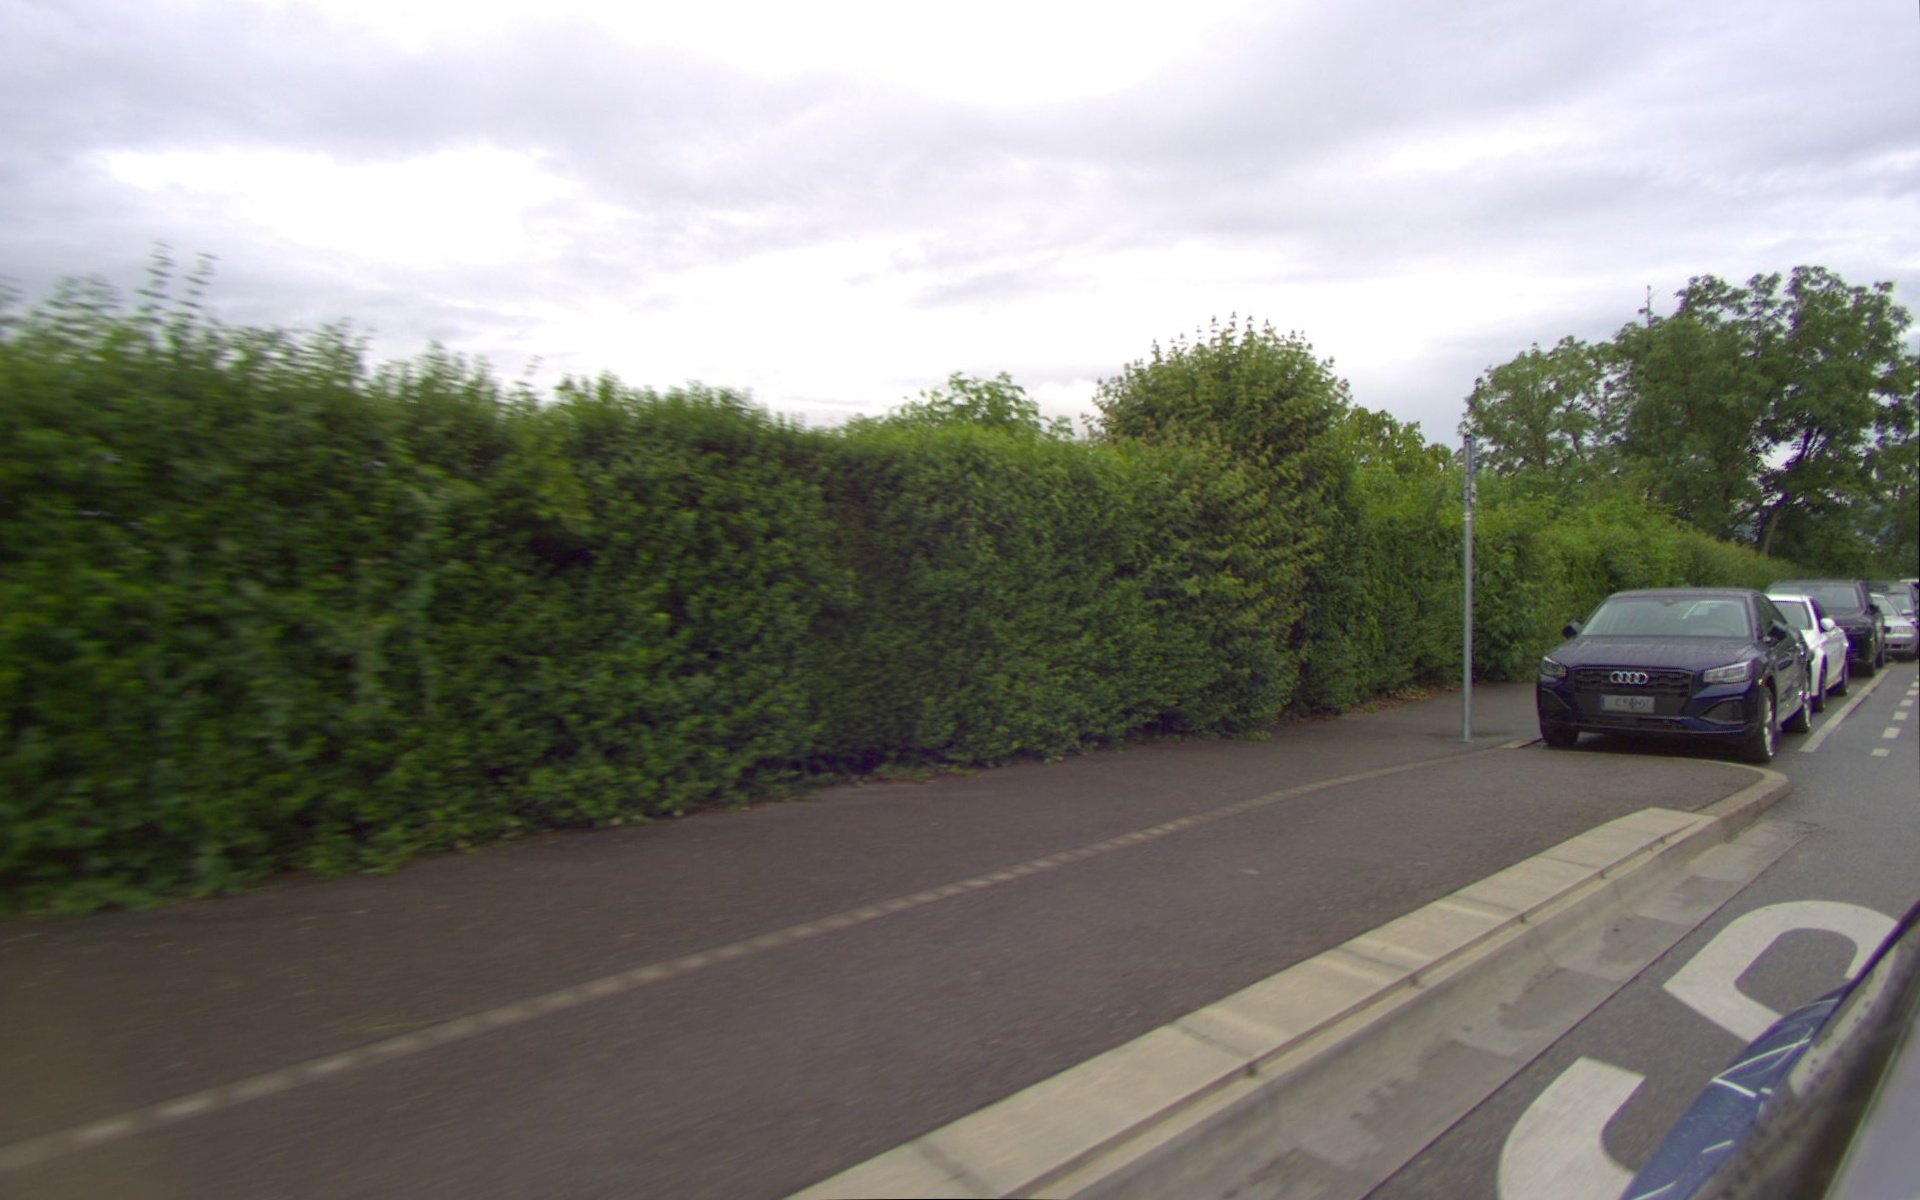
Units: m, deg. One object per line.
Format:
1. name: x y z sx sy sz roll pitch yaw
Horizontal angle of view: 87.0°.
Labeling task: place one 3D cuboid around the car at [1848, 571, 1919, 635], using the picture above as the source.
1. car: 28.516 0.073 30.614 4.816 1.805 2.029 0 1 -43

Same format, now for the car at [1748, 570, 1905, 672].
1. car: 16.303 0.333 18.957 1.888 1.684 4.474 -1 0 45

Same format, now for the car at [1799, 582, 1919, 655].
1. car: 20.155 0.364 22.449 1.791 1.458 4.588 0 0 32

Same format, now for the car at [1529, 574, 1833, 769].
1. car: 7.320 0.538 10.104 4.137 1.549 1.755 -1 0 -44

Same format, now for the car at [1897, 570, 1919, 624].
1. car: 37.375 -0.072 38.325 4.717 1.972 1.866 0 2 -36

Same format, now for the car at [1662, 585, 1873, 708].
1. car: 11.209 0.529 13.927 4.532 1.423 1.714 0 0 -44

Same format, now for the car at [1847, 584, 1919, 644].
1. car: 24.808 0.326 26.711 3.916 1.439 1.690 -1 2 -43
